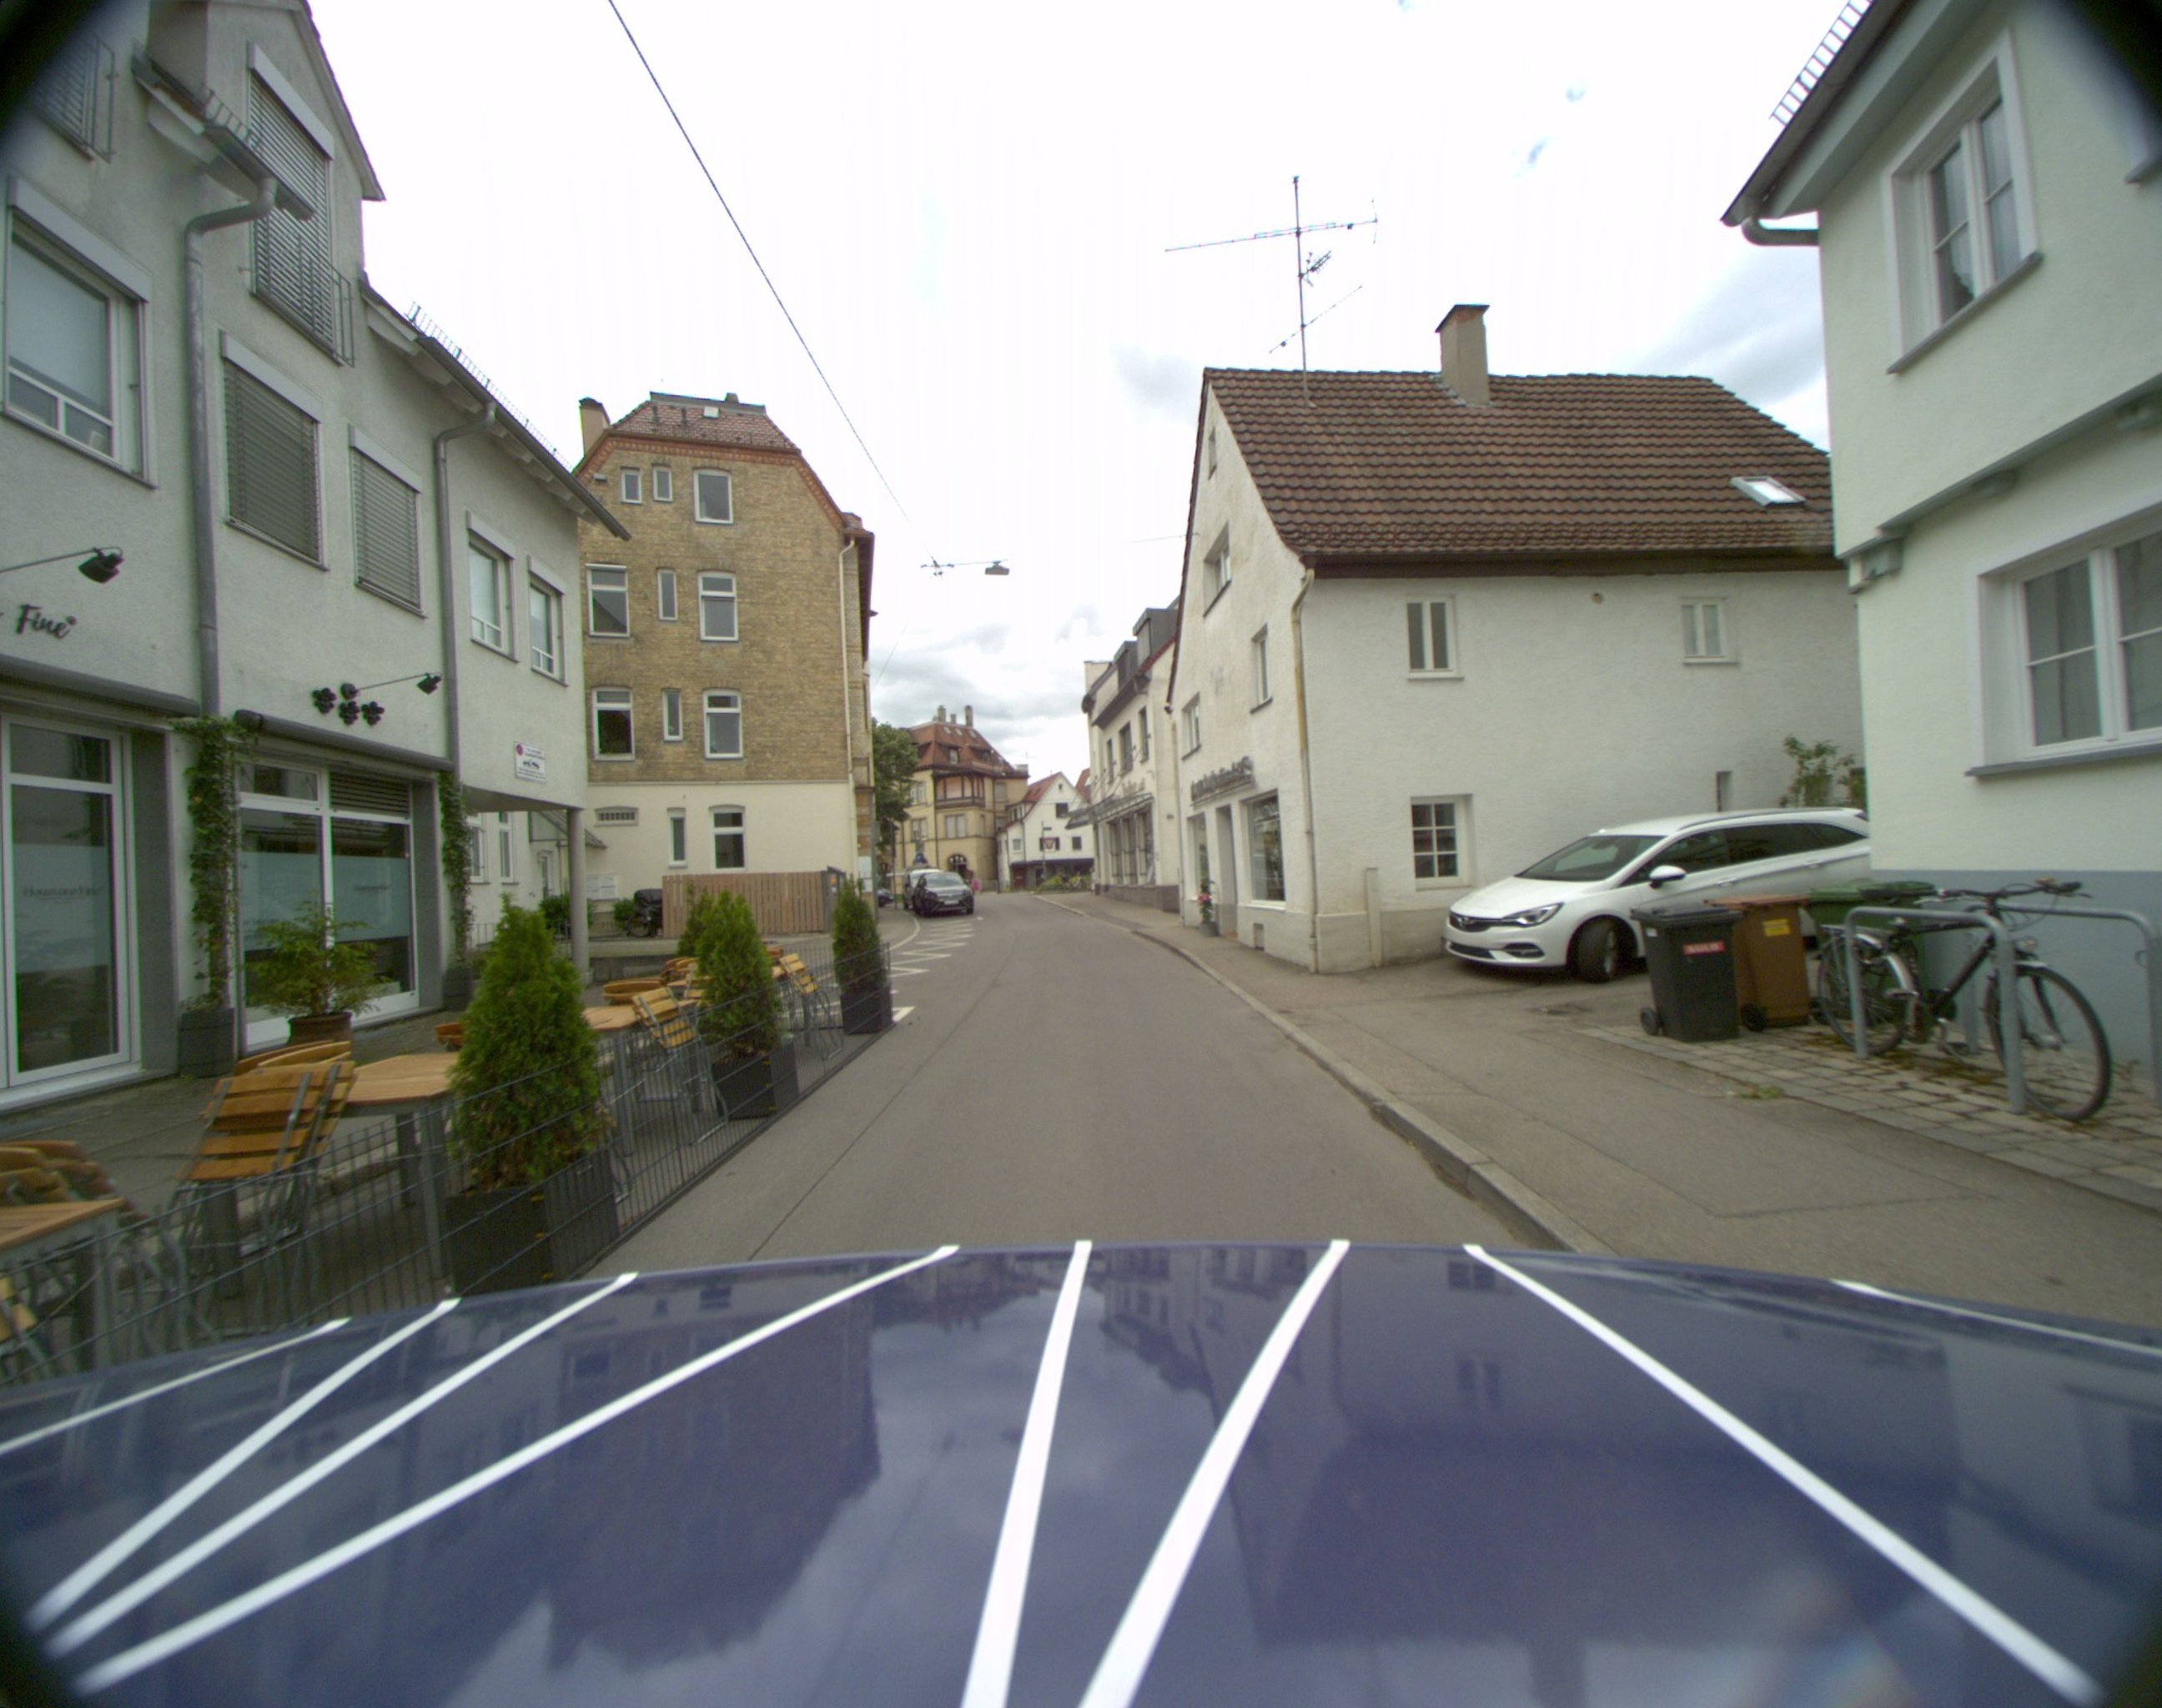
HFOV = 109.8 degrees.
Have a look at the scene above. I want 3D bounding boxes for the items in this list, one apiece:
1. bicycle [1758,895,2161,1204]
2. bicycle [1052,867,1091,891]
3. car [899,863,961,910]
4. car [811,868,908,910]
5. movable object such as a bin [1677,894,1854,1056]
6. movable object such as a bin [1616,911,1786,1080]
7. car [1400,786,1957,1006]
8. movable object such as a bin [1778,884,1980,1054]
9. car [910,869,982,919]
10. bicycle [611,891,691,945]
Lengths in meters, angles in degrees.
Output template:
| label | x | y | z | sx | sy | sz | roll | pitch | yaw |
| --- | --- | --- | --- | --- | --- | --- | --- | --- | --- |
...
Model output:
| label | x | y | z | sx | sy | sz | roll | pitch | yaw |
| --- | --- | --- | --- | --- | --- | --- | --- | --- | --- |
| bicycle | 4.405 | 0.797 | 3.864 | 0.443 | 1.032 | 2.095 | -7 | -2 | 15 |
| bicycle | -0.542 | 1.435 | 43.559 | 1.983 | 1.232 | 0.743 | -3 | -2 | -26 |
| car | -6.622 | 1.405 | 33.025 | 1.833 | 1.781 | 4.212 | -3 | -1 | -21 |
| car | -10.808 | 1.705 | 37.182 | 4.017 | 1.694 | 1.863 | -4 | 0 | 8 |
| movable object such as a bin | 4.727 | 0.815 | 5.297 | 0.570 | 0.993 | 0.600 | -8 | -3 | 10 |
| movable object such as a bin | 4.128 | 0.924 | 5.111 | 0.554 | 0.993 | 0.587 | -8 | -3 | 11 |
| car | 6.220 | 0.348 | 8.273 | 4.550 | 1.492 | 1.977 | -8 | 3 | -4 |
| movable object such as a bin | 5.298 | 0.740 | 5.089 | 0.556 | 0.994 | 0.623 | -9 | -2 | 11 |
| car | -5.137 | 1.425 | 28.338 | 1.795 | 1.591 | 4.535 | -3 | 0 | -20 |
| bicycle | -10.448 | 1.522 | 18.573 | 0.962 | 1.211 | 2.100 | 0 | -2 | -7 |
